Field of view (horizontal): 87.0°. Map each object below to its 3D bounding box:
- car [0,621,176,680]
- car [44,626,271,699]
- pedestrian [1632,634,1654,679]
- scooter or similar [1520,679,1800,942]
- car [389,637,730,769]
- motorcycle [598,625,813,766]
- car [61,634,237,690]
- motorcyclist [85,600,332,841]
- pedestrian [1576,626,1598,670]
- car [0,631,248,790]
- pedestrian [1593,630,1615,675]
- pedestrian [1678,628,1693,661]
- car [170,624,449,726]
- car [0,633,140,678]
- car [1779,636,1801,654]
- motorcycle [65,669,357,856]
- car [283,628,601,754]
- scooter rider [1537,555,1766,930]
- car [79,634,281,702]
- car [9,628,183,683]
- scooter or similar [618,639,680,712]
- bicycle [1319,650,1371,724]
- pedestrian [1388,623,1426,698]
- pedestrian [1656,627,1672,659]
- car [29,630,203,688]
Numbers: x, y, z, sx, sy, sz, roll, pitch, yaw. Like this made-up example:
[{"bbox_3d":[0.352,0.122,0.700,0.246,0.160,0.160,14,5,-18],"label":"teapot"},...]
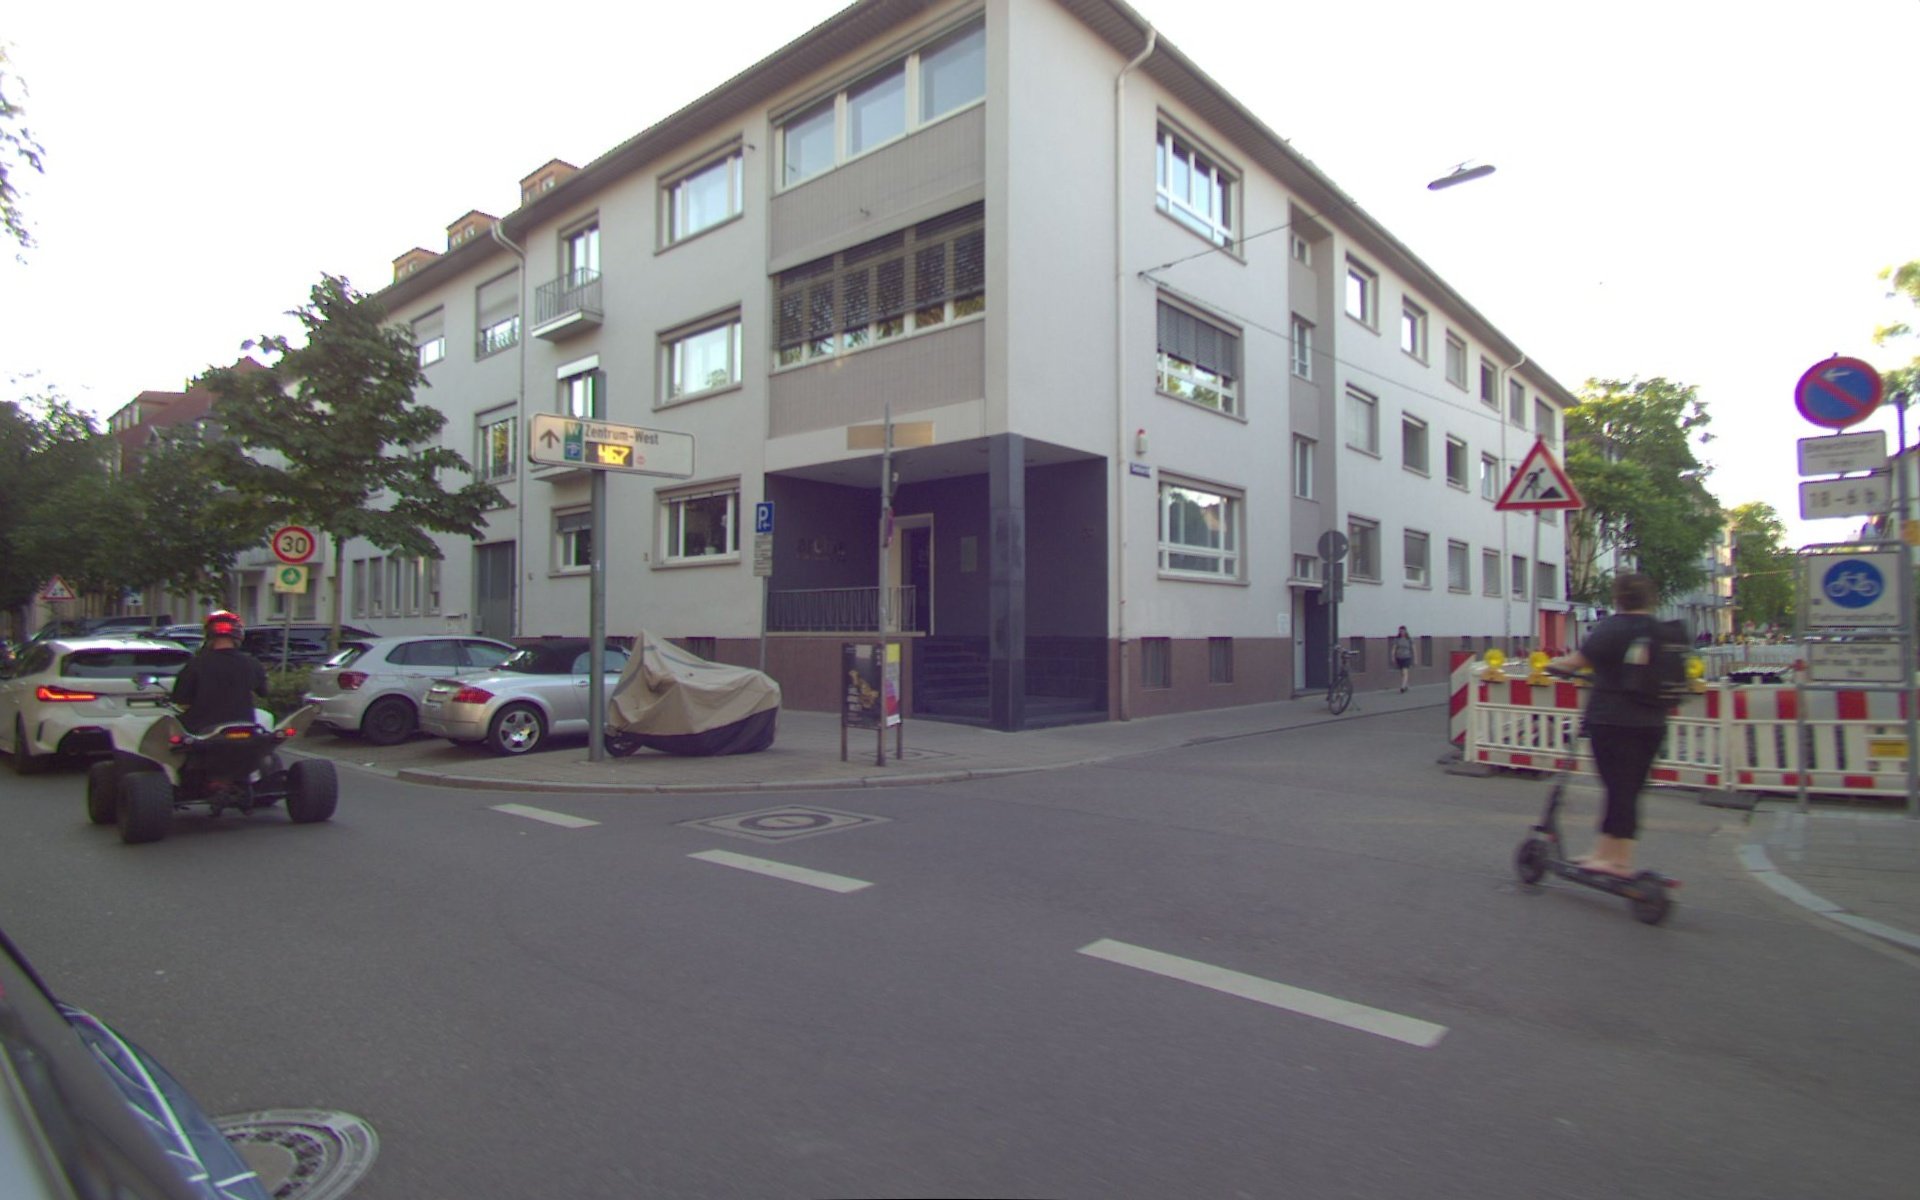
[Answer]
[{"bbox_3d":[-31.750,1.790,36.665,2.188,2.006,4.938,-3,-3,41],"label":"car"},{"bbox_3d":[-22.126,1.662,28.052,2.155,1.778,4.618,-2,-2,40],"label":"car"},{"bbox_3d":[26.958,2.230,39.945,0.585,1.725,0.647,3,0,41],"label":"pedestrian"},{"bbox_3d":[3.608,1.025,5.339,0.495,1.153,1.252,1,-2,-7],"label":"scooter or similar"},{"bbox_3d":[-5.090,1.208,13.171,1.844,1.321,3.700,-2,-1,42],"label":"car"},{"bbox_3d":[-2.815,1.008,11.229,2.118,1.430,0.971,2,-3,-28],"label":"motorcycle"},{"bbox_3d":[-23.946,1.789,29.970,1.854,1.462,3.805,-3,-3,41],"label":"car"},{"bbox_3d":[-5.629,0.834,7.606,1.077,1.604,1.266,-2,-3,41],"label":"motorcyclist"},{"bbox_3d":[25.281,1.938,40.816,0.585,1.725,0.647,3,0,41],"label":"pedestrian"},{"bbox_3d":[-10.261,1.175,12.048,4.271,1.561,1.858,-2,-4,40],"label":"car"},{"bbox_3d":[25.433,2.071,39.978,0.585,1.725,0.647,3,0,41],"label":"pedestrian"},{"bbox_3d":[39.694,2.440,55.369,0.585,1.725,0.647,3,0,41],"label":"pedestrian"},{"bbox_3d":[-12.064,1.305,18.946,1.935,1.644,4.049,-2,-2,42],"label":"car"},{"bbox_3d":[-36.973,2.266,42.016,1.771,1.550,4.309,-1,0,41],"label":"car"},{"bbox_3d":[99.238,5.342,121.055,1.998,2.029,3.947,-1,-4,40],"label":"car"},{"bbox_3d":[-5.735,1.115,7.693,2.395,1.098,1.298,-2,-3,41],"label":"motorcycle"},{"bbox_3d":[-7.343,1.195,14.603,1.734,1.469,3.703,-2,-1,40],"label":"car"},{"bbox_3d":[3.605,0.698,5.348,0.488,1.805,0.876,0,-2,-7],"label":"scooter rider"},{"bbox_3d":[-20.316,1.701,26.460,1.781,1.505,3.983,-2,-1,44],"label":"car"},{"bbox_3d":[-29.718,1.846,34.907,1.929,1.584,4.309,-2,0,41],"label":"car"},{"bbox_3d":[-5.770,1.381,18.757,0.509,1.271,1.421,0,-1,-44],"label":"scooter or similar"},{"bbox_3d":[6.978,1.525,18.273,0.720,1.154,2.218,-1,-1,25],"label":"bicycle"},{"bbox_3d":[10.553,1.416,23.890,0.585,1.725,0.647,3,0,41],"label":"pedestrian"},{"bbox_3d":[38.627,2.340,55.552,0.585,1.725,0.647,3,0,41],"label":"pedestrian"},{"bbox_3d":[-27.438,1.868,33.017,1.823,1.603,4.111,-2,0,41],"label":"car"}]
